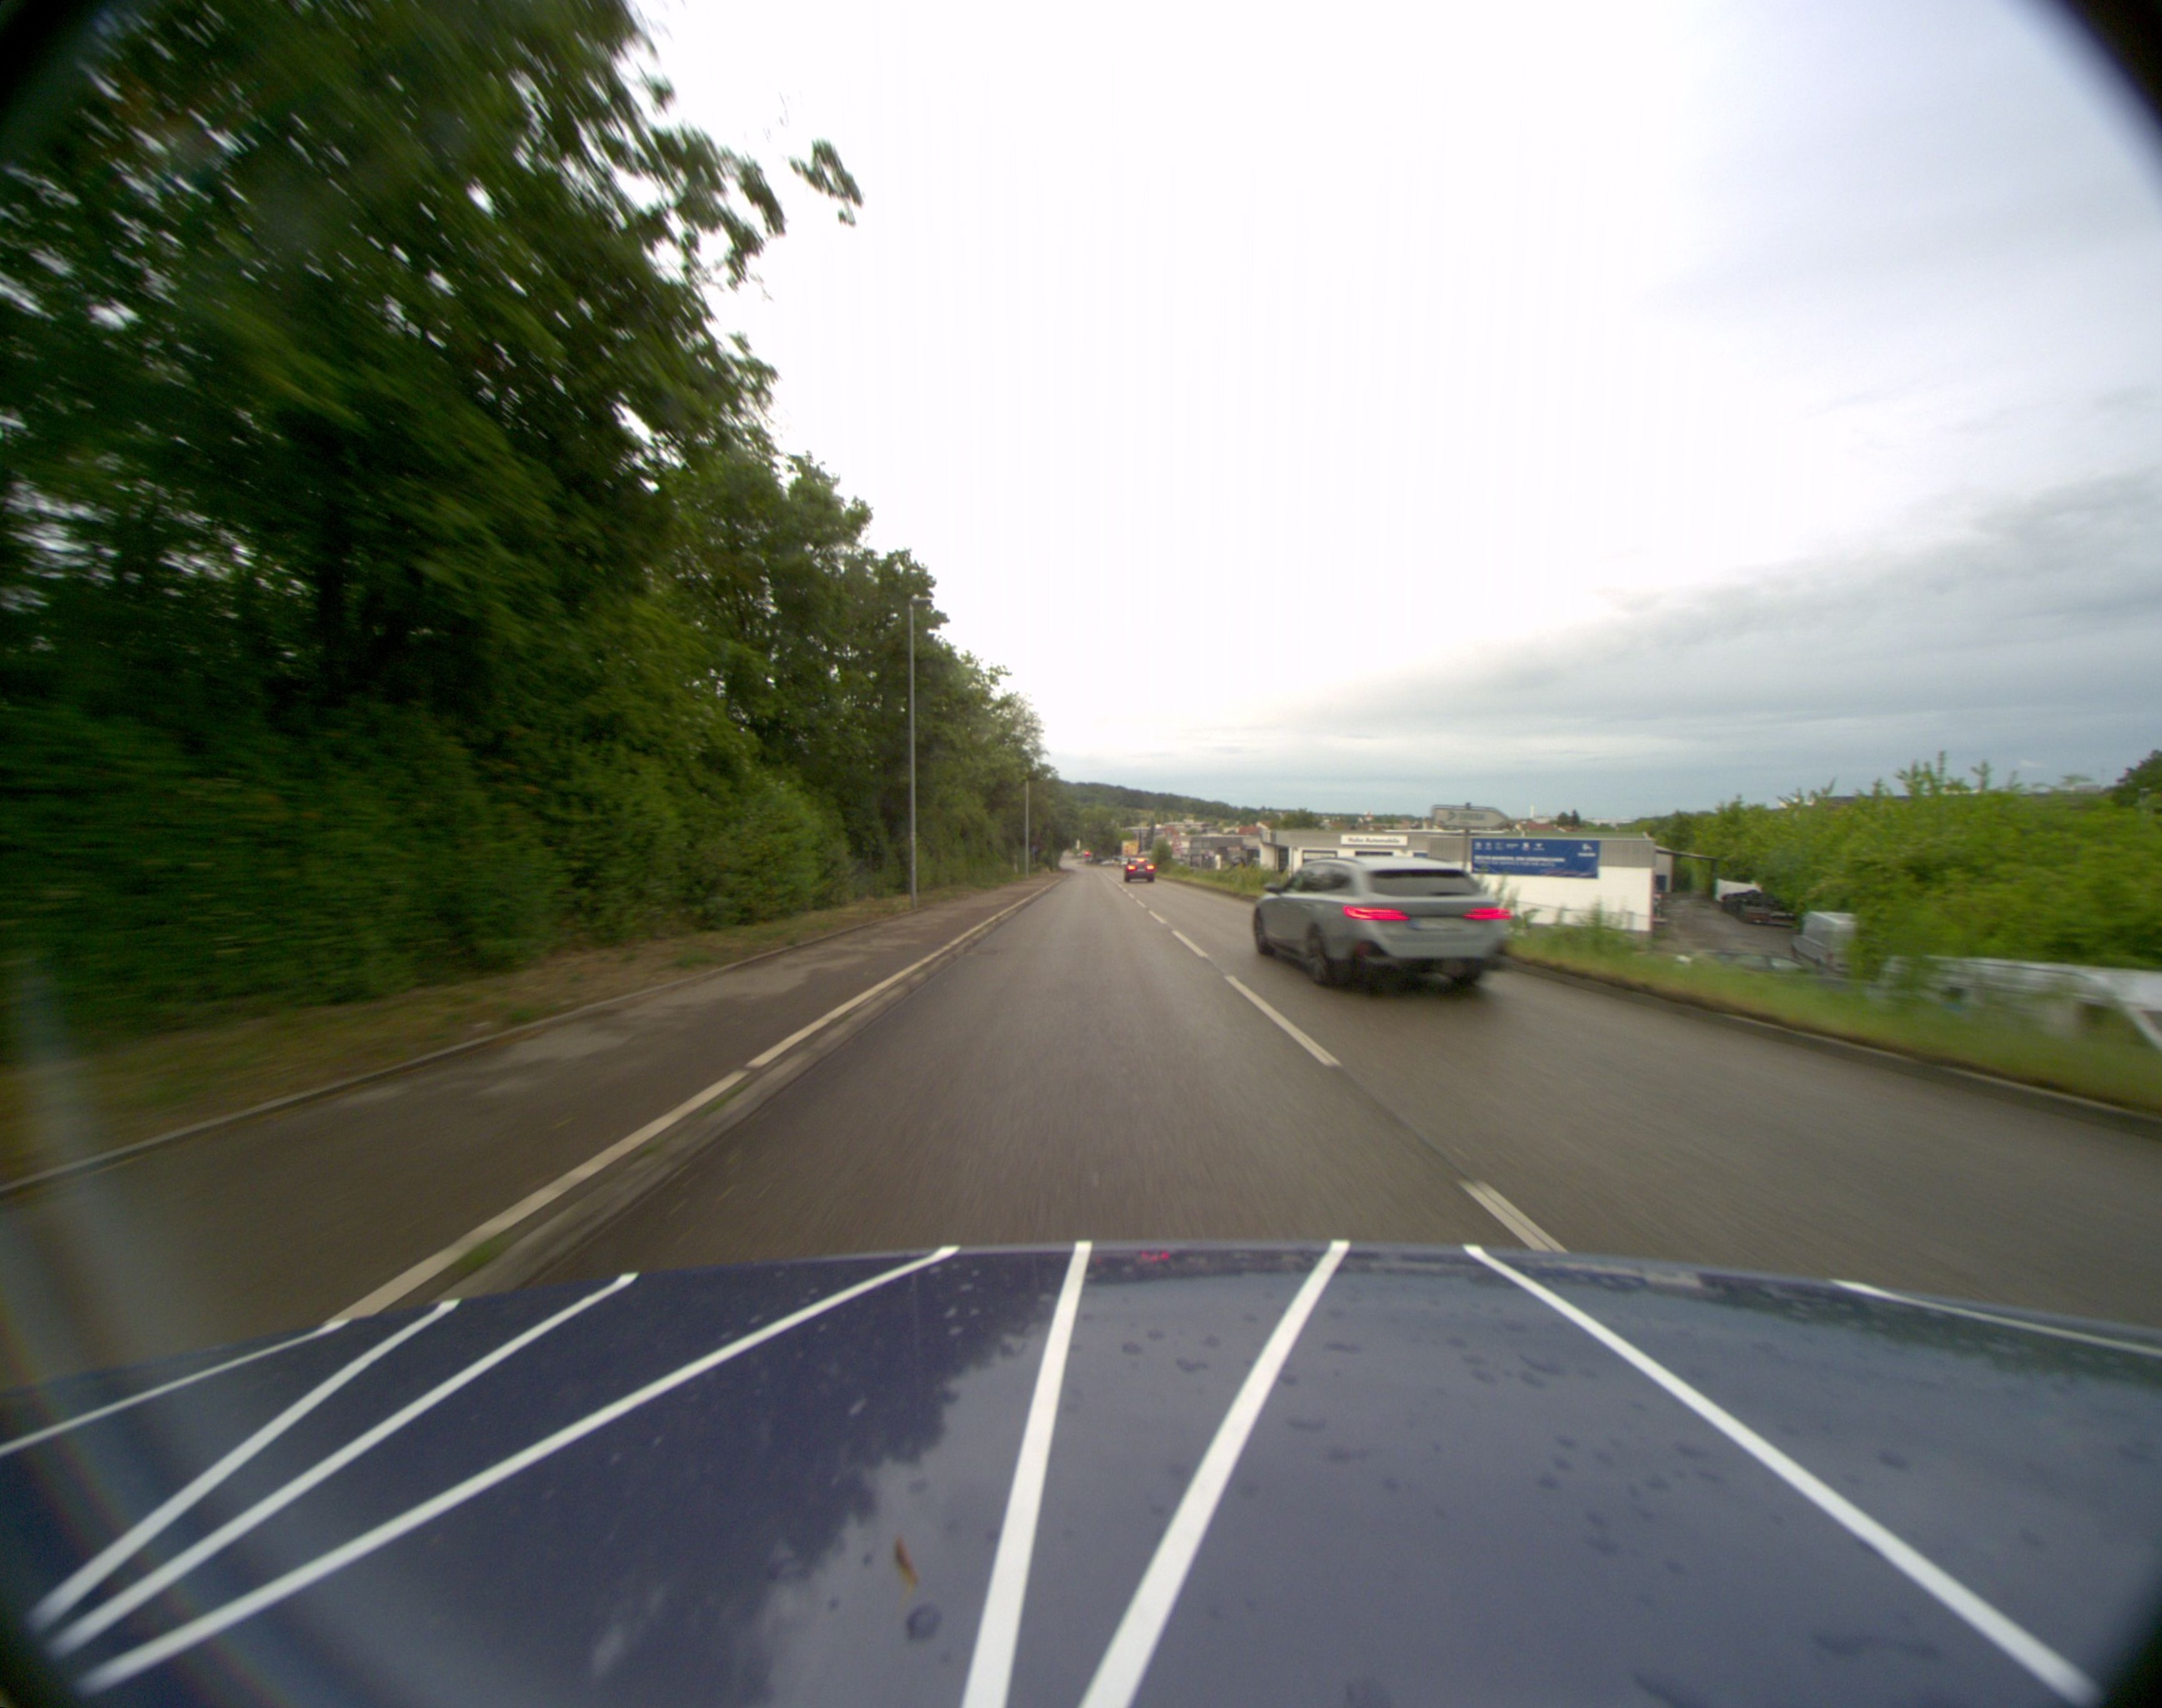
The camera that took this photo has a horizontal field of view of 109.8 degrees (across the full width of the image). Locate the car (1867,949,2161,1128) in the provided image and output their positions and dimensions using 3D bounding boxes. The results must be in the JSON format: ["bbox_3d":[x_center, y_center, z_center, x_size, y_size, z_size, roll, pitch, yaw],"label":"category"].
[{"bbox_3d":[14.410,2.554,10.909,1.986,1.681,4.935,5,0,15],"label":"car"}]

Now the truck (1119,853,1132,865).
[{"bbox_3d":[9.731,1.006,166.654,1.999,2.617,7.889,1,0,-3],"label":"truck"}]

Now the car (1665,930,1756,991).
[{"bbox_3d":[23.183,3.843,28.173,1.861,1.683,4.653,5,0,32],"label":"car"}]

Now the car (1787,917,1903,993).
[{"bbox_3d":[32.654,4.180,32.726,1.979,2.447,6.611,5,1,33],"label":"car"}]

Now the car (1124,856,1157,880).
[{"bbox_3d":[4.024,0.922,52.093,1.873,1.576,4.414,-1,0,0],"label":"car"}]

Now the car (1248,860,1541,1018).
[{"bbox_3d":[3.594,0.851,9.819,1.866,1.495,4.728,0,0,0],"label":"car"}]
